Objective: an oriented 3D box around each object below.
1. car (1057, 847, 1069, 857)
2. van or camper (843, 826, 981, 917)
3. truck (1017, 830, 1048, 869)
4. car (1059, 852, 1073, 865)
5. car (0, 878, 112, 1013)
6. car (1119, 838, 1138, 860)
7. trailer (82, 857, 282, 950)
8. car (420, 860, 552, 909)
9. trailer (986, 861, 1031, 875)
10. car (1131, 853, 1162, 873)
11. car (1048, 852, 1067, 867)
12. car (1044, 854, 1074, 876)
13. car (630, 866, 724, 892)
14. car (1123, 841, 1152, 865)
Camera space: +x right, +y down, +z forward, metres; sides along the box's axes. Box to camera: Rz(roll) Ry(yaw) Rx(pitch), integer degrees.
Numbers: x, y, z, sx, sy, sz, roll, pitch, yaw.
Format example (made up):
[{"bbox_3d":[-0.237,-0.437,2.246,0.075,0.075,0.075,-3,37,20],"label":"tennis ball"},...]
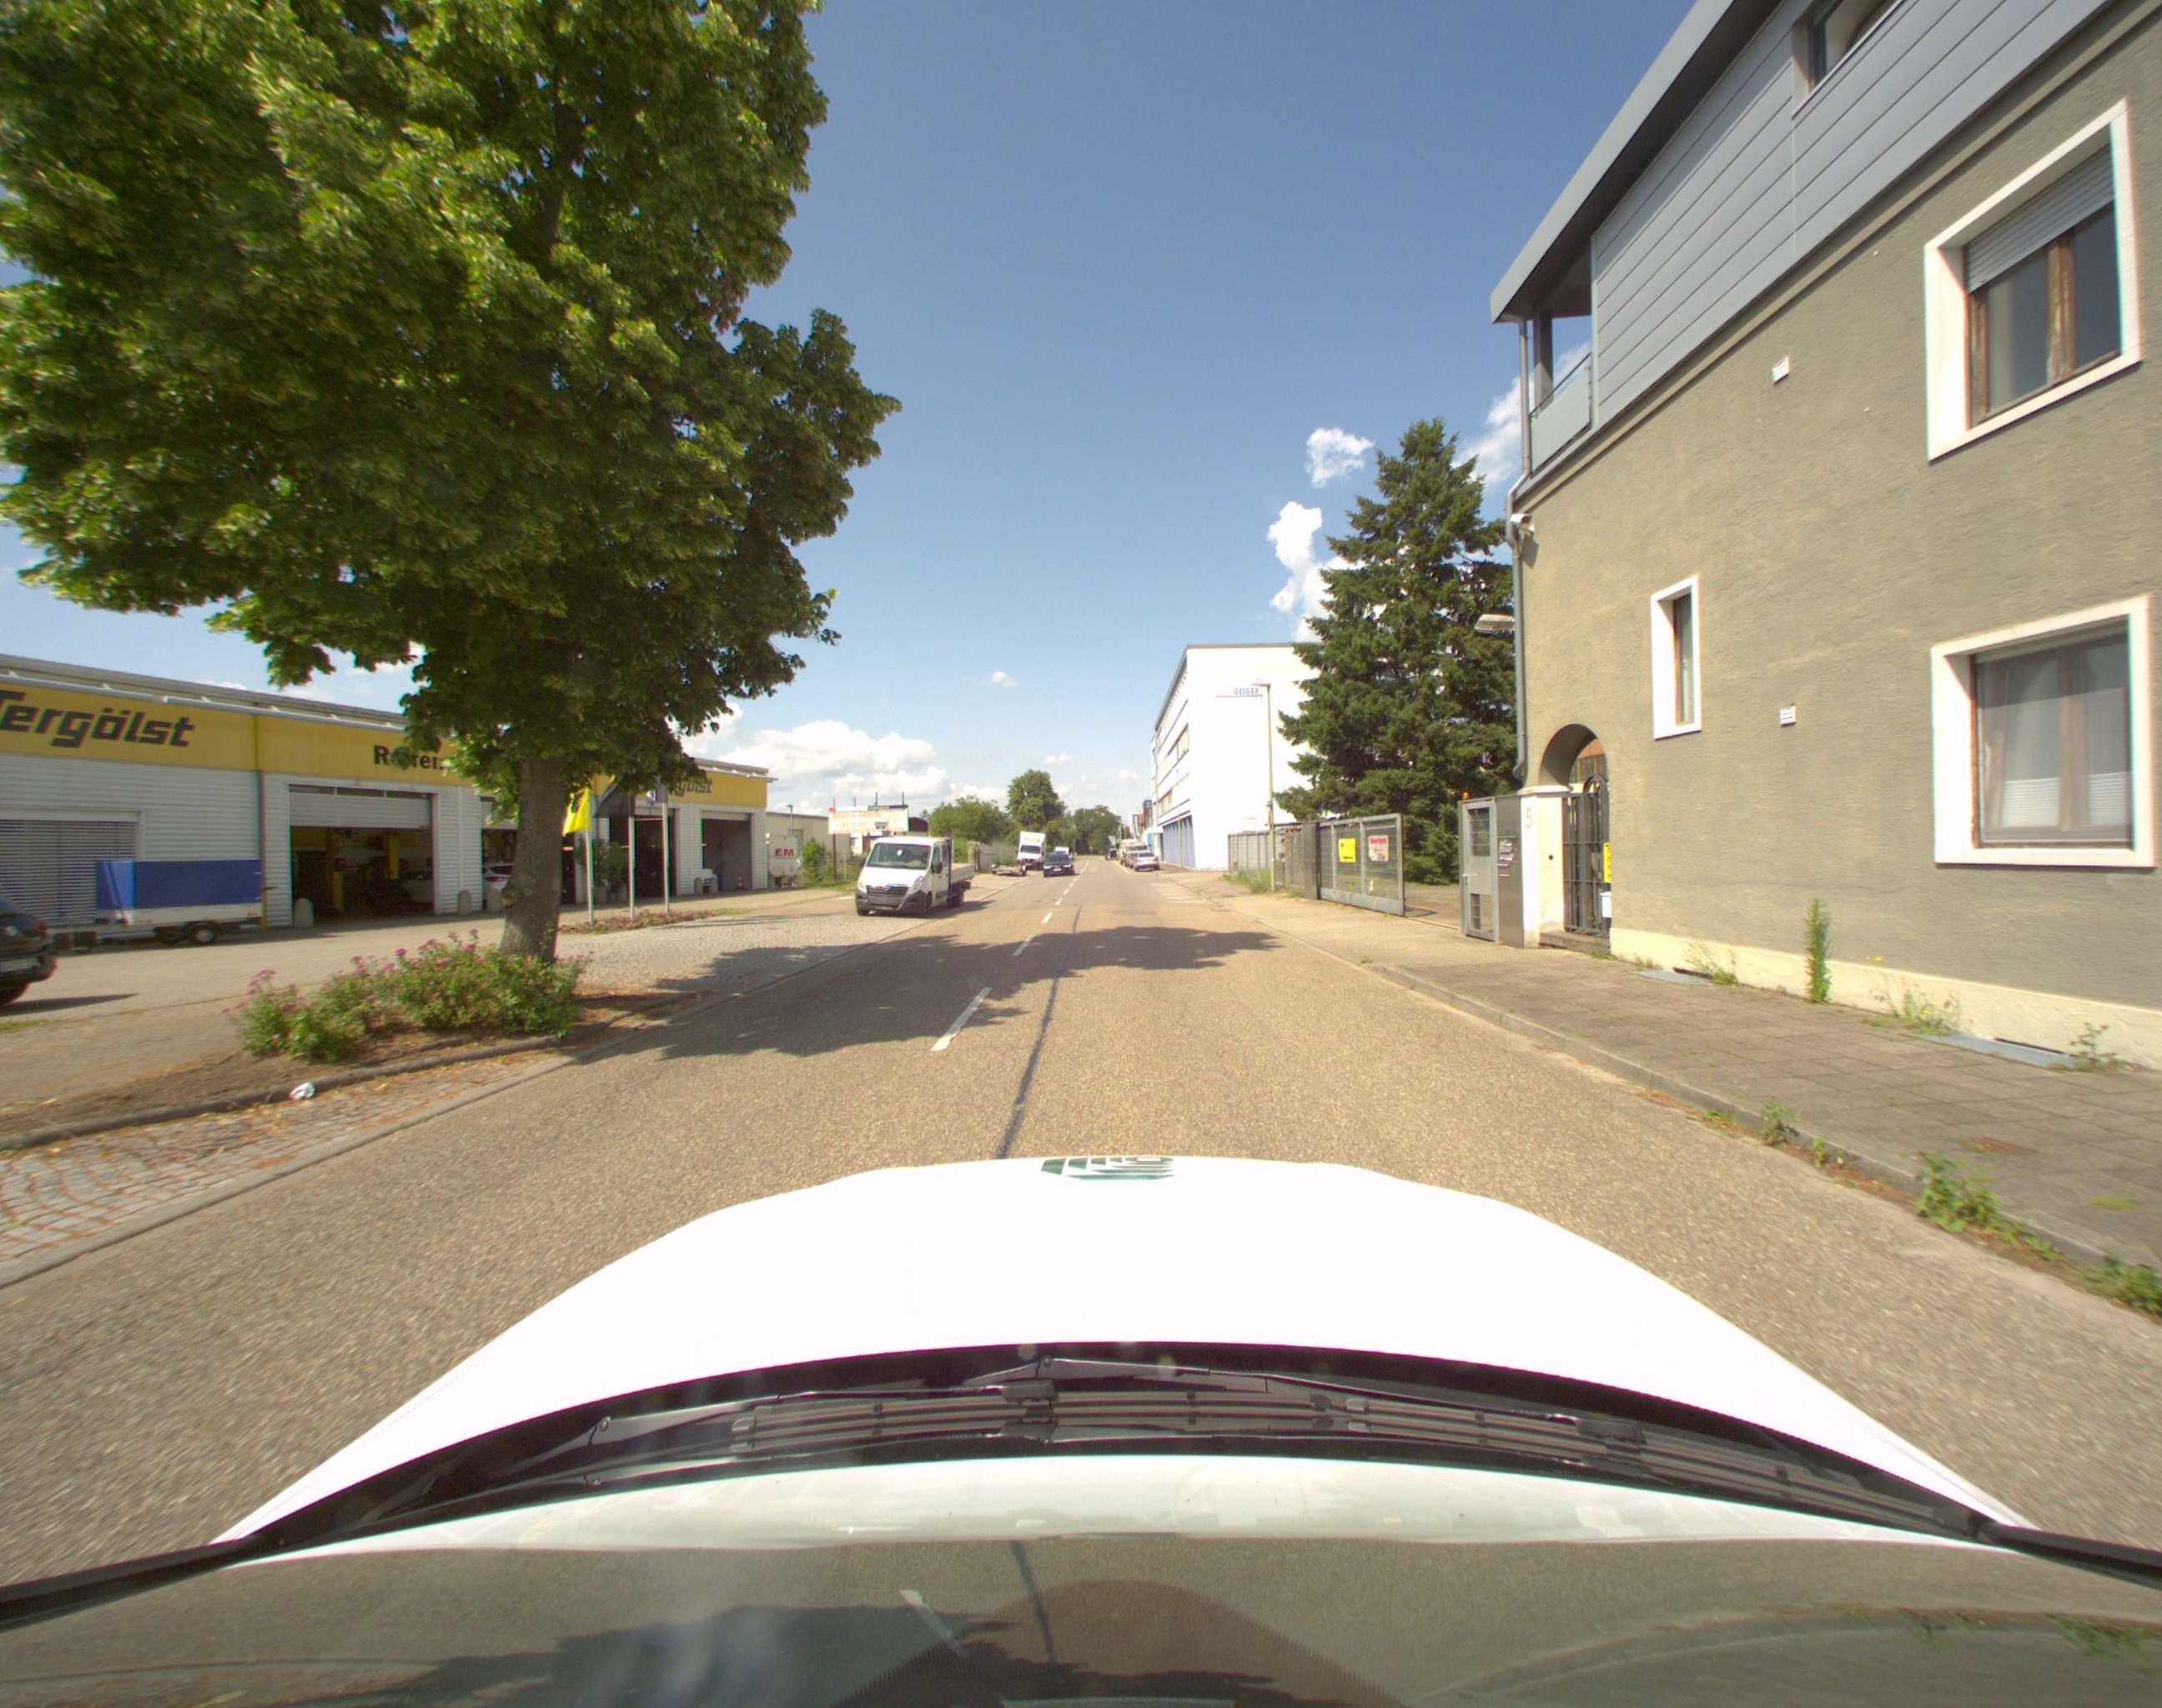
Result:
[{"bbox_3d":[-3.324,-0.320,148.484,1.986,1.816,4.001,-1,0,1],"label":"car"},{"bbox_3d":[-5.030,0.459,25.805,2.163,2.413,7.707,-1,0,4],"label":"van or camper"},{"bbox_3d":[-4.083,-0.397,69.848,2.022,3.154,6.502,-1,0,2],"label":"truck"},{"bbox_3d":[-1.986,0.626,111.579,1.707,1.650,4.001,-1,0,1],"label":"car"},{"bbox_3d":[-13.182,1.050,8.278,3.799,1.377,1.868,-3,0,-18],"label":"car"},{"bbox_3d":[4.764,-0.495,82.328,1.701,2.090,4.000,-1,0,1],"label":"car"},{"bbox_3d":[-17.485,0.917,15.937,1.359,1.649,2.215,-1,0,16],"label":"trailer"},{"bbox_3d":[-19.465,0.965,26.628,3.949,1.464,2.002,-1,0,29],"label":"car"},{"bbox_3d":[-4.902,0.952,55.814,2.408,0.813,5.539,1,0,2],"label":"trailer"},{"bbox_3d":[4.626,0.586,57.908,1.921,1.310,4.001,-1,0,1],"label":"car"},{"bbox_3d":[-2.665,0.583,92.926,1.986,1.684,4.001,-1,0,1],"label":"car"},{"bbox_3d":[-1.378,0.707,52.879,1.648,1.324,4.418,-1,0,1],"label":"car"},{"bbox_3d":[-17.543,1.073,35.394,3.604,1.037,1.549,-1,0,18],"label":"car"},{"bbox_3d":[4.929,-0.090,71.740,2.208,2.013,5.487,-1,0,1],"label":"car"}]
